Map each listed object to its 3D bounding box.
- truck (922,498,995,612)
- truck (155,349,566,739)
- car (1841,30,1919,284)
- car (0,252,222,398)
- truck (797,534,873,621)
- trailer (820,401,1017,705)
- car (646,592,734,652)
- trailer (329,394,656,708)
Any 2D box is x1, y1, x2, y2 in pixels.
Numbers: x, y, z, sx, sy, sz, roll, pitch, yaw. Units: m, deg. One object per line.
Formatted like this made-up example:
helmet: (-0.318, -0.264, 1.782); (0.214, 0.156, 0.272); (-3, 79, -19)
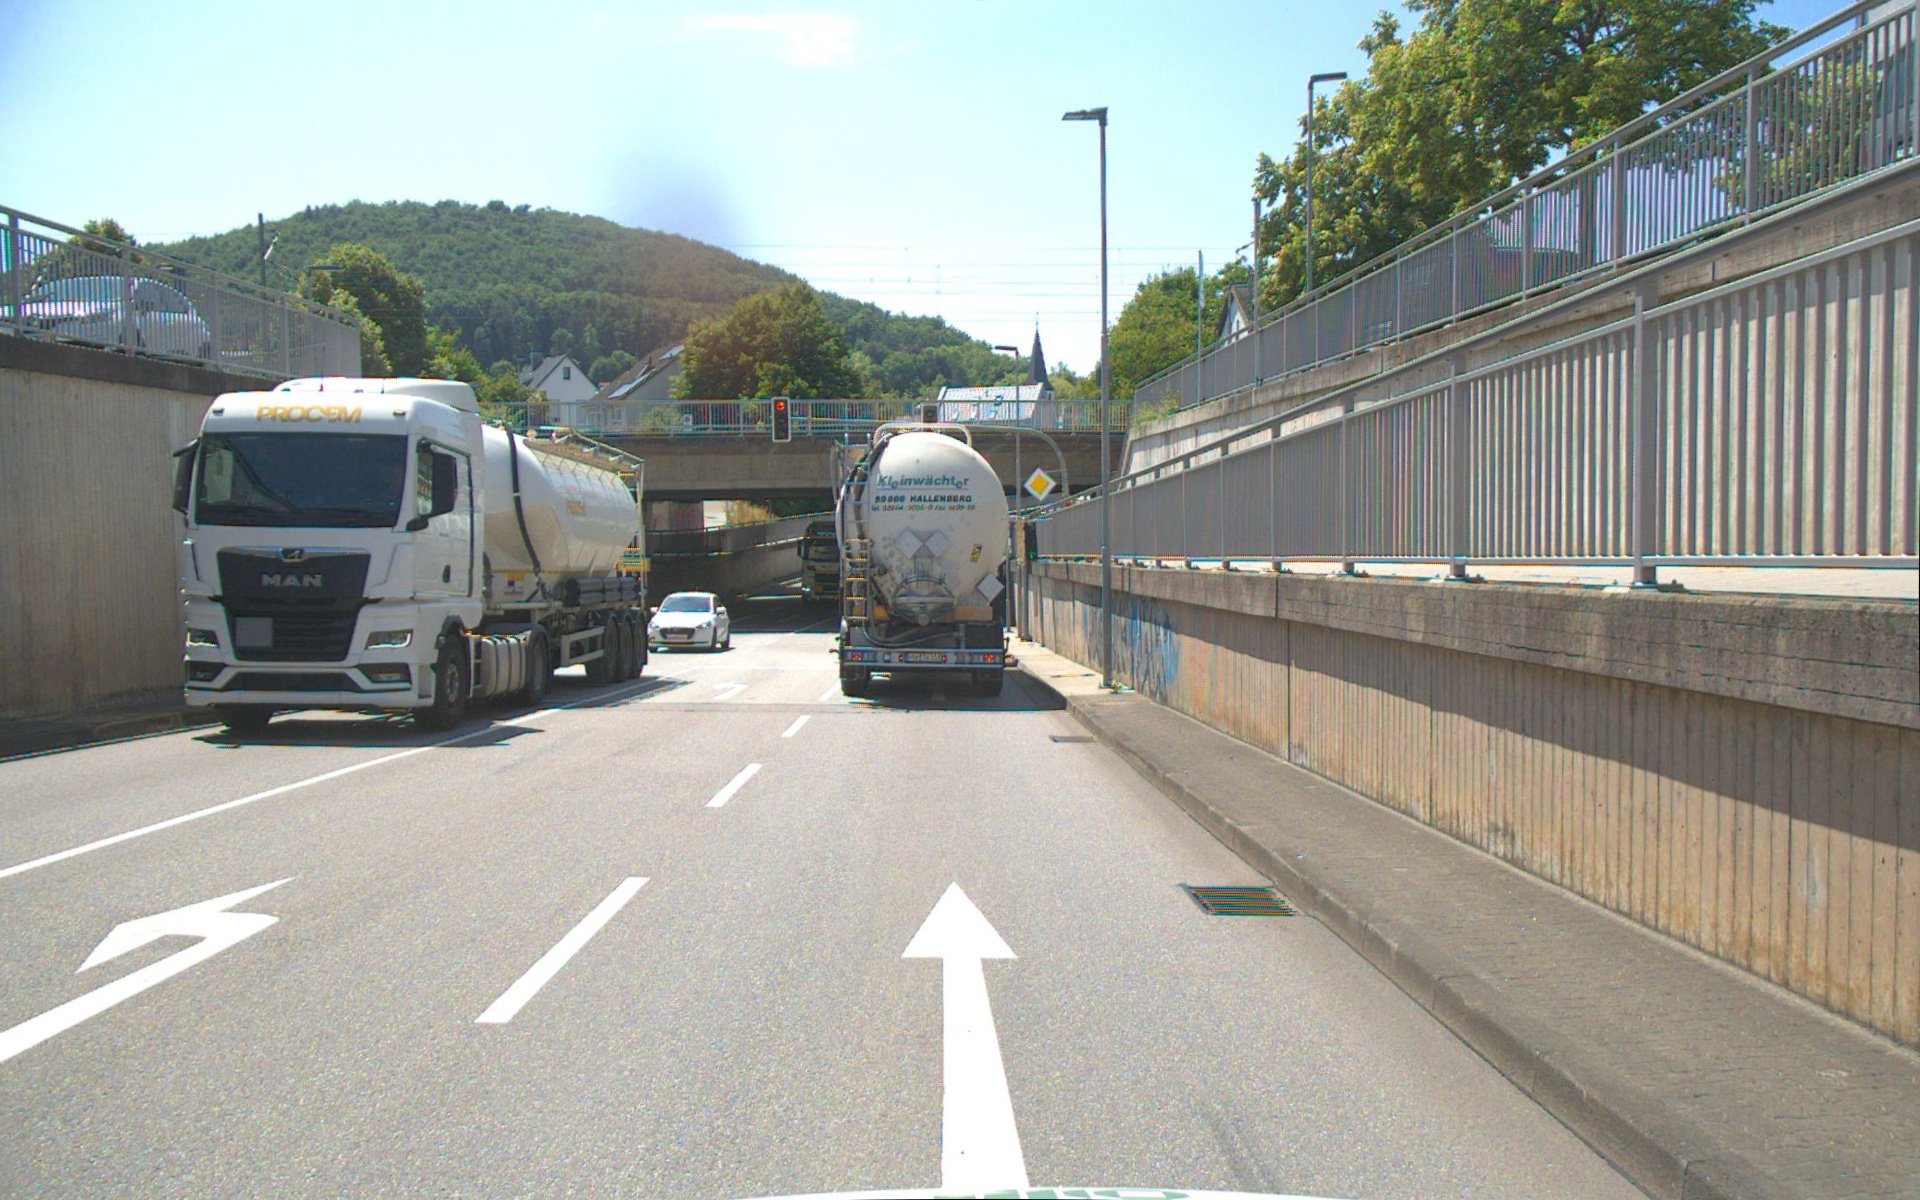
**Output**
truck: (0.038, -2.179, 79.913); (3.016, 5.087, 10.088); (1, 1, 3)
truck: (-6.844, -0.564, 20.019); (2.607, 3.928, 6.579); (0, 0, -1)
car: (9.803, -3.772, 13.968); (3.826, 1.917, 1.686); (-1, 3, 0)
car: (-11.748, -3.686, 22.678); (1.586, 1.526, 4.044); (1, 3, -3)
truck: (-5.603, -1.014, 75.309); (2.634, 3.727, 7.370); (1, 0, 1)
trailer: (-0.611, -0.661, 29.228); (2.679, 4.135, 13.311); (0, 0, 0)
car: (-6.989, 0.533, 43.131); (1.648, 1.466, 4.093); (0, 1, 0)
trailer: (-6.890, -0.630, 25.999); (2.557, 4.033, 9.345); (0, 0, -1)
